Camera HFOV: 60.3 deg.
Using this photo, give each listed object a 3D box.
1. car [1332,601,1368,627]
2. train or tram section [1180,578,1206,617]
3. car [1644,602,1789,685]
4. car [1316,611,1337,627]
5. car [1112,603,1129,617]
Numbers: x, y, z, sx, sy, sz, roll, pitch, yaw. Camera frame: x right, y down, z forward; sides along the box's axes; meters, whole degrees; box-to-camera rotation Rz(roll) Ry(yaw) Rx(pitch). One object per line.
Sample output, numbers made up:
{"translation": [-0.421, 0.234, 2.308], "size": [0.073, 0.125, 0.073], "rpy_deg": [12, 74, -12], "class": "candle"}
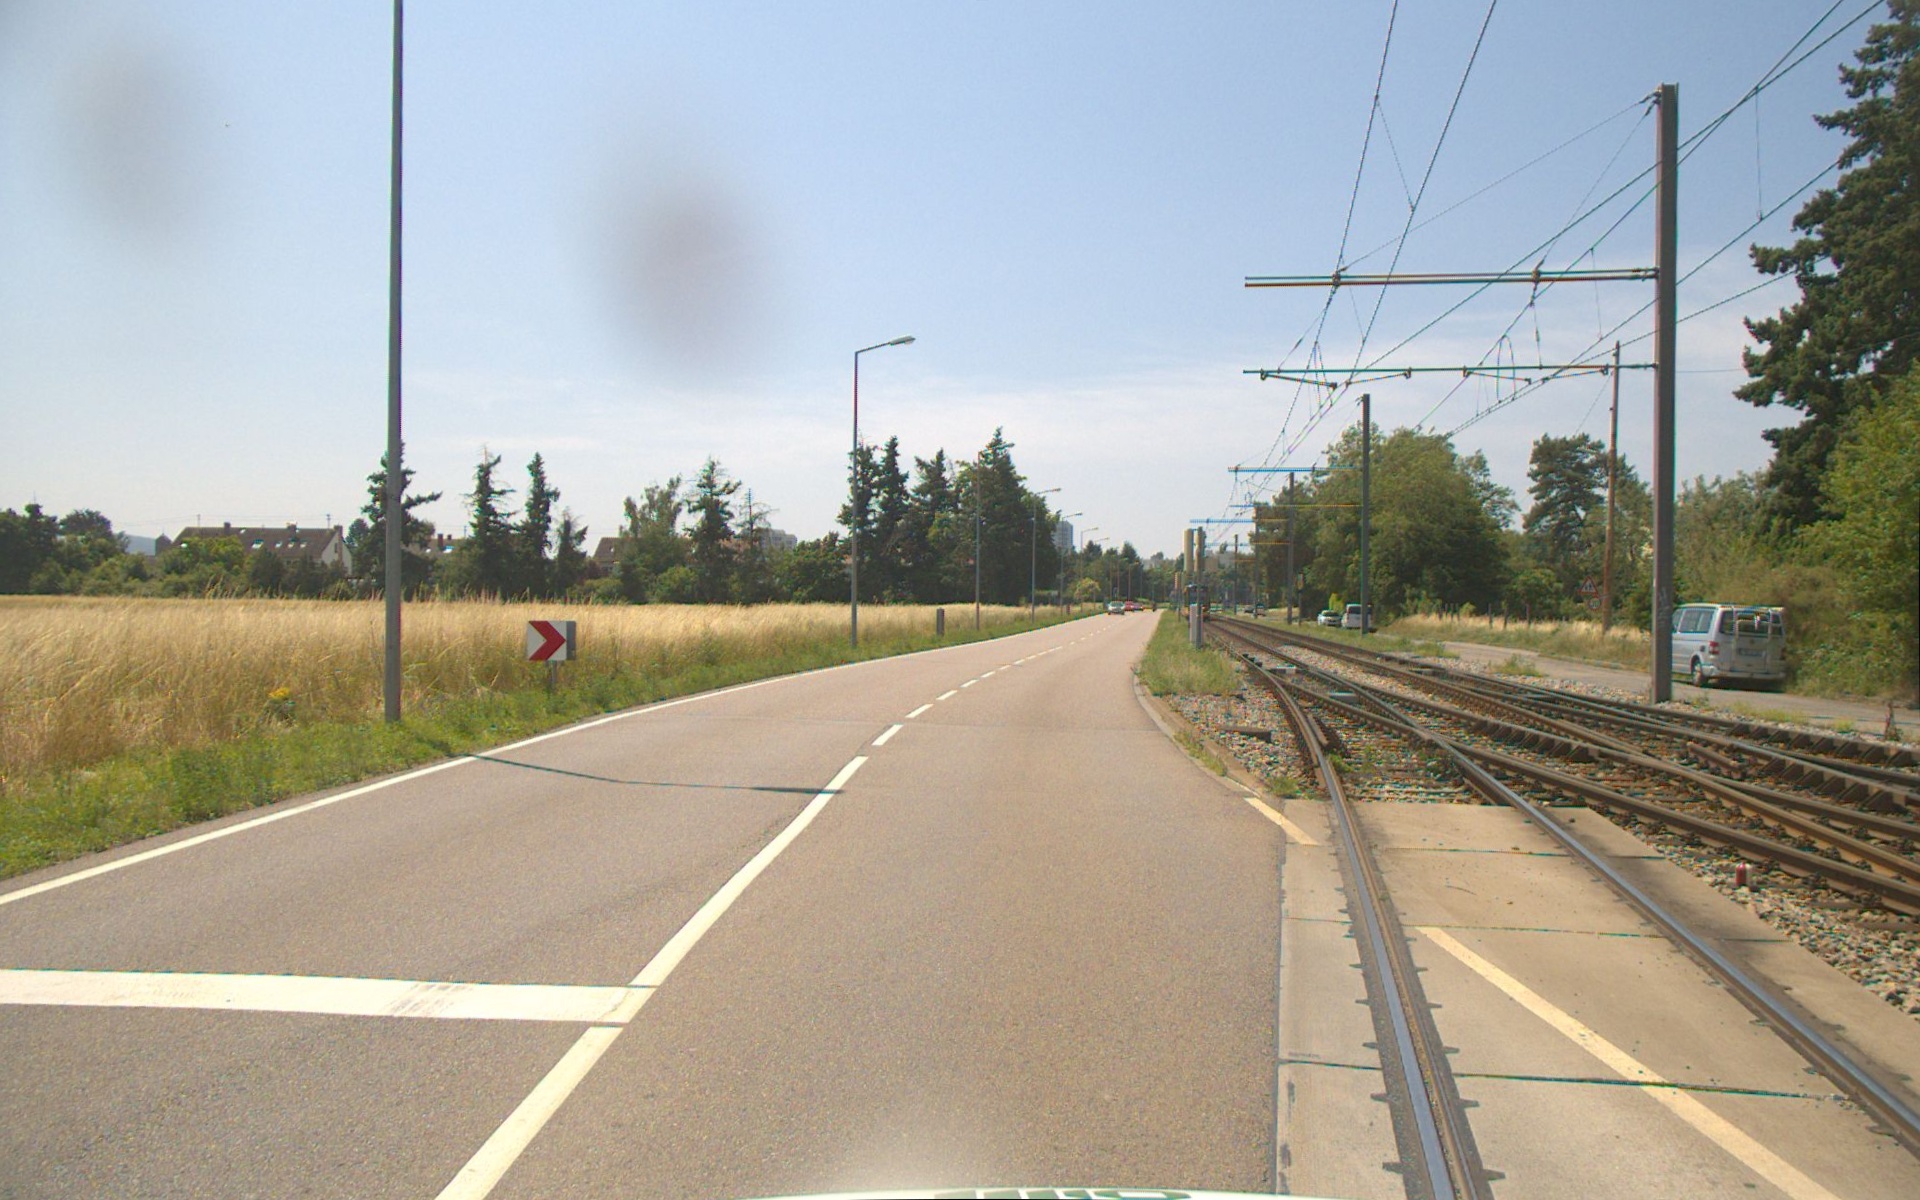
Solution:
{"translation": [27.780, 1.015, 117.892], "size": [1.951, 1.834, 4.797], "rpy_deg": [0, -1, 7], "class": "car"}
{"translation": [23.610, -0.166, 167.871], "size": [2.377, 3.832, 11.567], "rpy_deg": [0, -1, 7], "class": "train or tram section"}
{"translation": [18.659, 1.051, 41.073], "size": [1.993, 1.915, 5.072], "rpy_deg": [0, -1, 9], "class": "car"}
{"translation": [30.362, 1.556, 137.192], "size": [1.397, 1.331, 3.468], "rpy_deg": [0, -1, 7], "class": "car"}
{"translation": [18.200, 1.109, 187.545], "size": [1.795, 1.493, 4.681], "rpy_deg": [0, -1, 7], "class": "car"}
